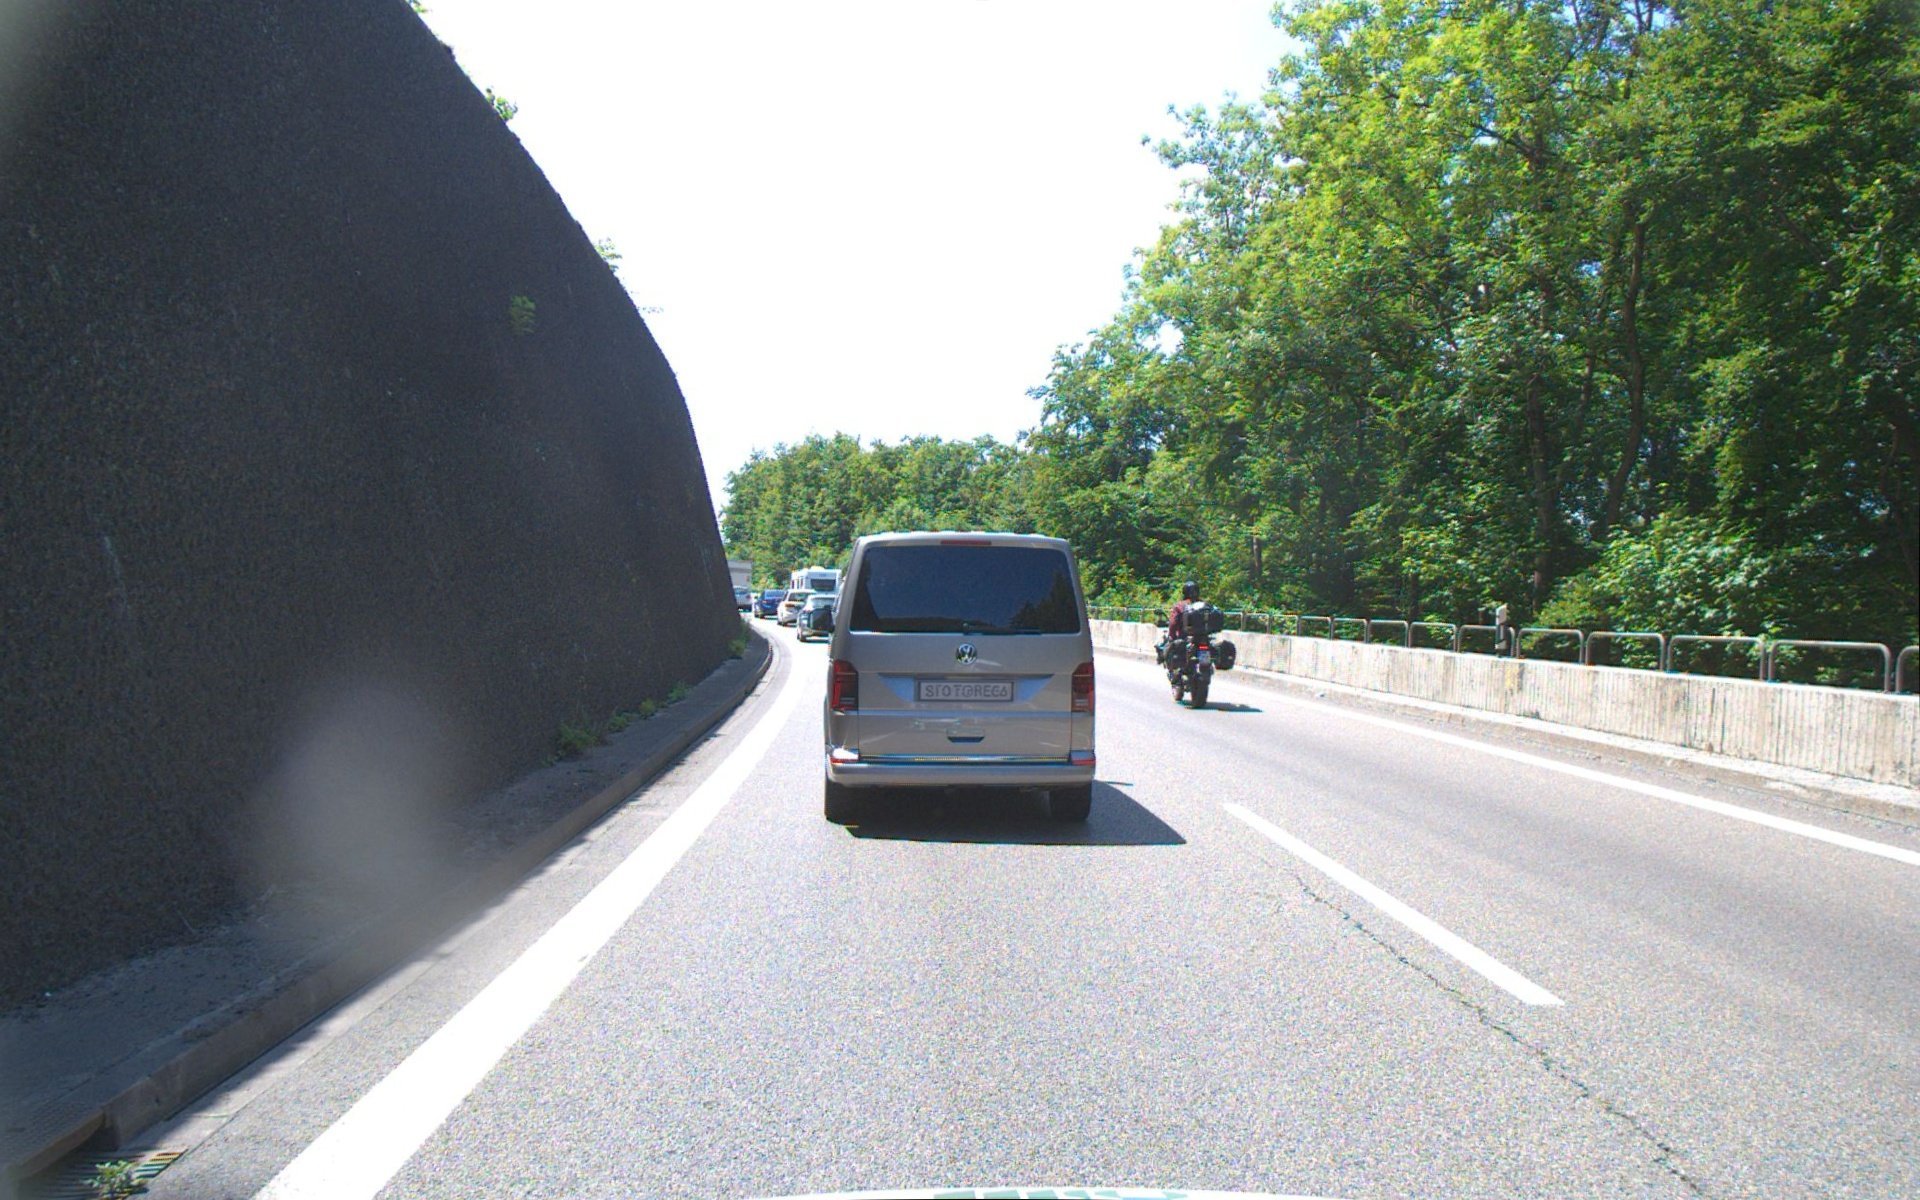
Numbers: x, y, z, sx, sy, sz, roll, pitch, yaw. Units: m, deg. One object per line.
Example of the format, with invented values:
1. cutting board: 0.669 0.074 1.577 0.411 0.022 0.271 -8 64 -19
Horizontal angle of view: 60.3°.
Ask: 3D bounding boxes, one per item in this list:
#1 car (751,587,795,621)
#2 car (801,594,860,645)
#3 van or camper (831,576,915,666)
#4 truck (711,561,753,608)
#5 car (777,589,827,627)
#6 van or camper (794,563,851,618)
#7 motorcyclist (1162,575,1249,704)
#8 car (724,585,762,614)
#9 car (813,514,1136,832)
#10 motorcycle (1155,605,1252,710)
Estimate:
1. car: -9.435 0.180 83.201 1.825 1.648 3.989 1 0 -11
2. car: -4.018 0.580 51.273 1.737 1.498 3.996 1 0 -5
3. van or camper: -2.078 0.459 38.554 1.817 1.976 4.161 1 0 -4
4. truck: -19.155 -1.302 138.568 2.873 3.751 7.702 2 0 -12
5. car: -6.741 0.331 70.126 1.829 1.512 3.991 1 0 -9
6. van or camper: -8.292 -0.606 99.154 2.557 2.904 6.320 5 0 -10
7. motorcyclist: 3.618 0.562 24.499 1.039 1.832 1.338 1 0 -1
8. car: -12.952 -0.014 98.527 1.958 1.646 3.989 1 0 -11
9. car: -0.101 0.461 12.779 1.903 1.965 4.688 2 0 -6
10. motorcycle: 3.595 0.818 24.667 0.953 1.444 2.680 1 0 -2
